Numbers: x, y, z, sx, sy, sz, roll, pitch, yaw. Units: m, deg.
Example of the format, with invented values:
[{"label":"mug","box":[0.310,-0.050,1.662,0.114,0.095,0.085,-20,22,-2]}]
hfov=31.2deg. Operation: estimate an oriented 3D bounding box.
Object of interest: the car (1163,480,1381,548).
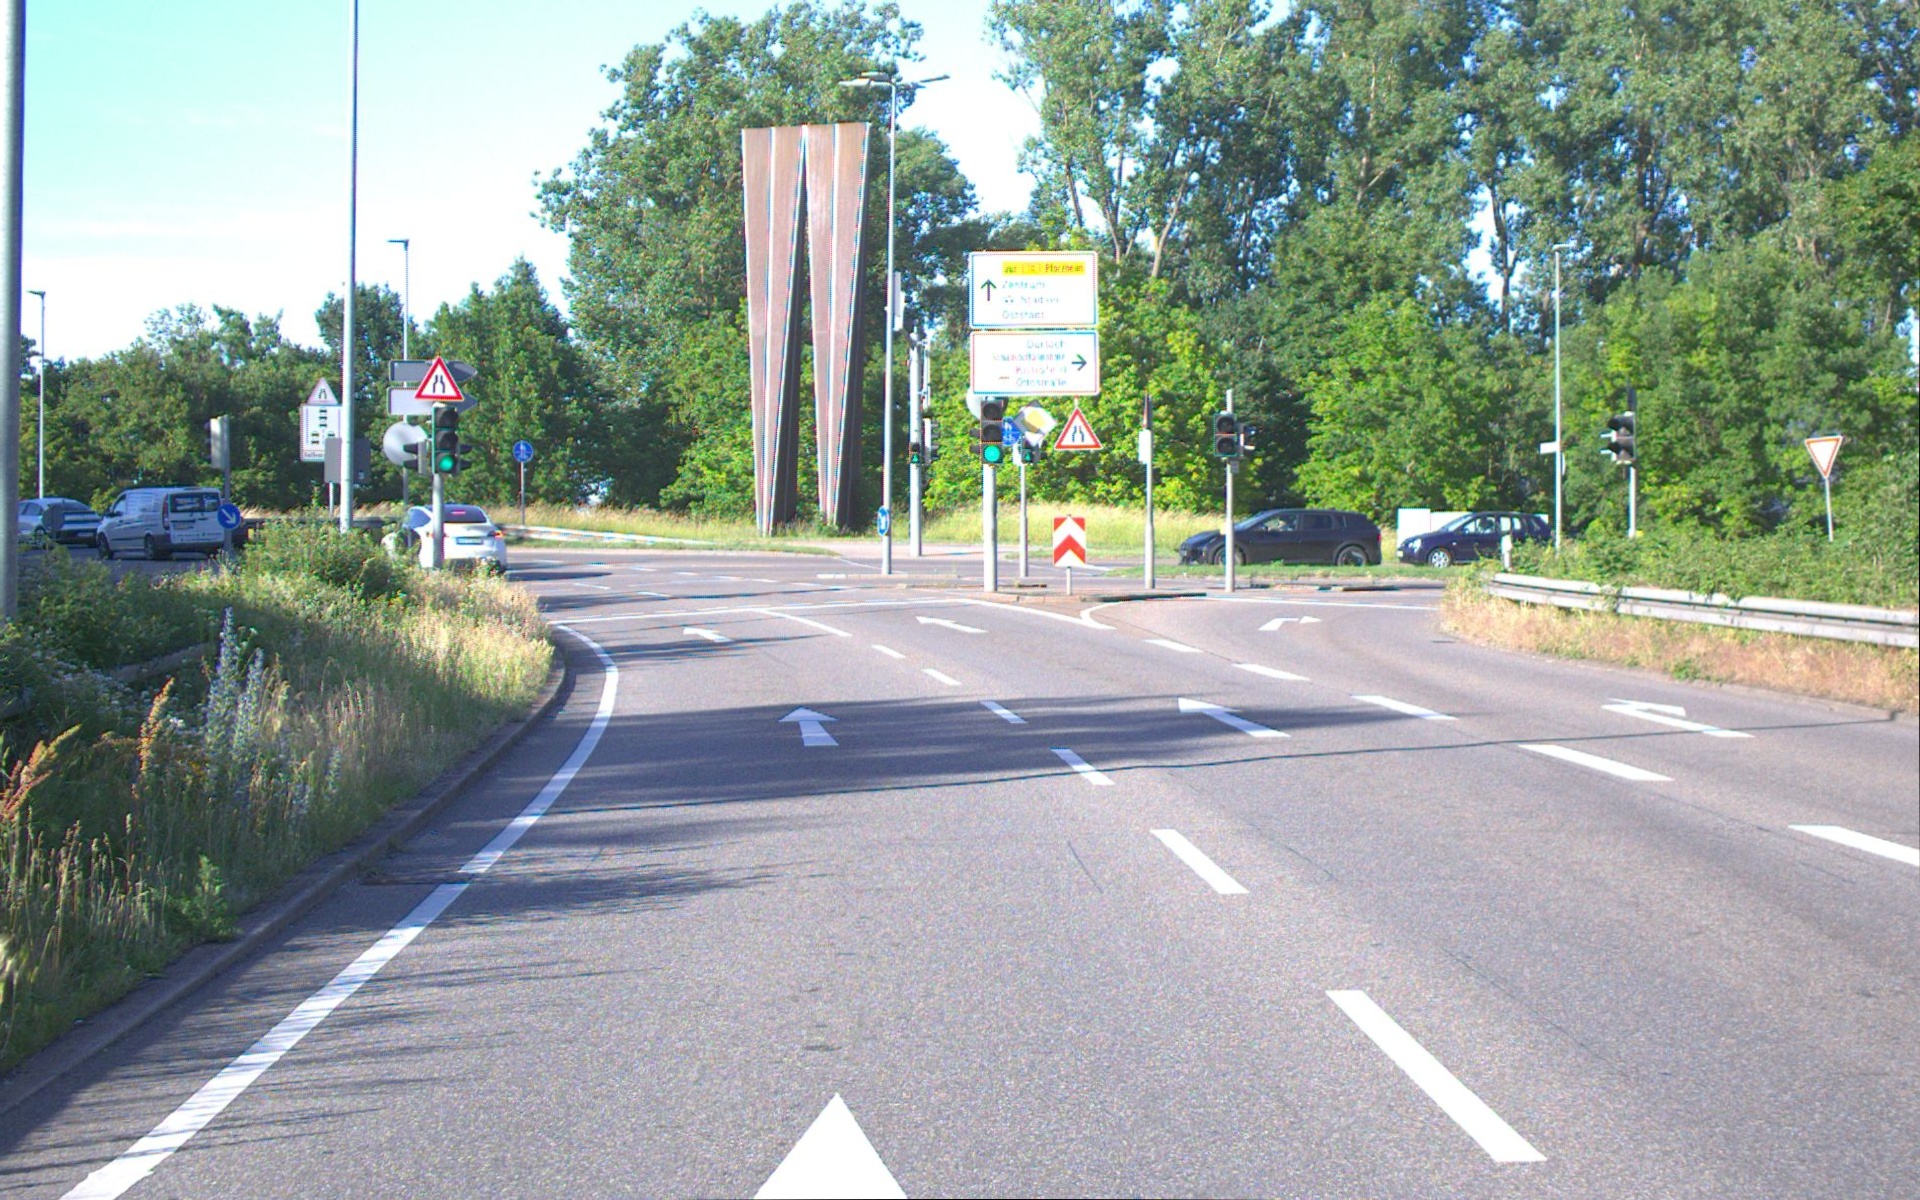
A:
[{"label":"car","box":[6.906,-1.924,76.442,4.457,1.459,2.001,0,3,-9]}]

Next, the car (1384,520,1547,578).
[{"label":"car","box":[12.403,-1.266,84.468,3.691,1.382,1.611,0,1,-3]}]

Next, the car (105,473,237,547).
[{"label":"car","box":[-20.632,-2.365,89.778,1.994,1.873,4.249,-2,2,-33]}]

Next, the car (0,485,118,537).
[{"label":"car","box":[-27.117,-2.678,102.660,4.152,1.469,1.970,2,4,45]}]

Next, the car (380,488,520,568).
[{"label":"car","box":[-10.949,-1.563,73.594,1.993,1.634,4.129,-1,2,-22]}]
